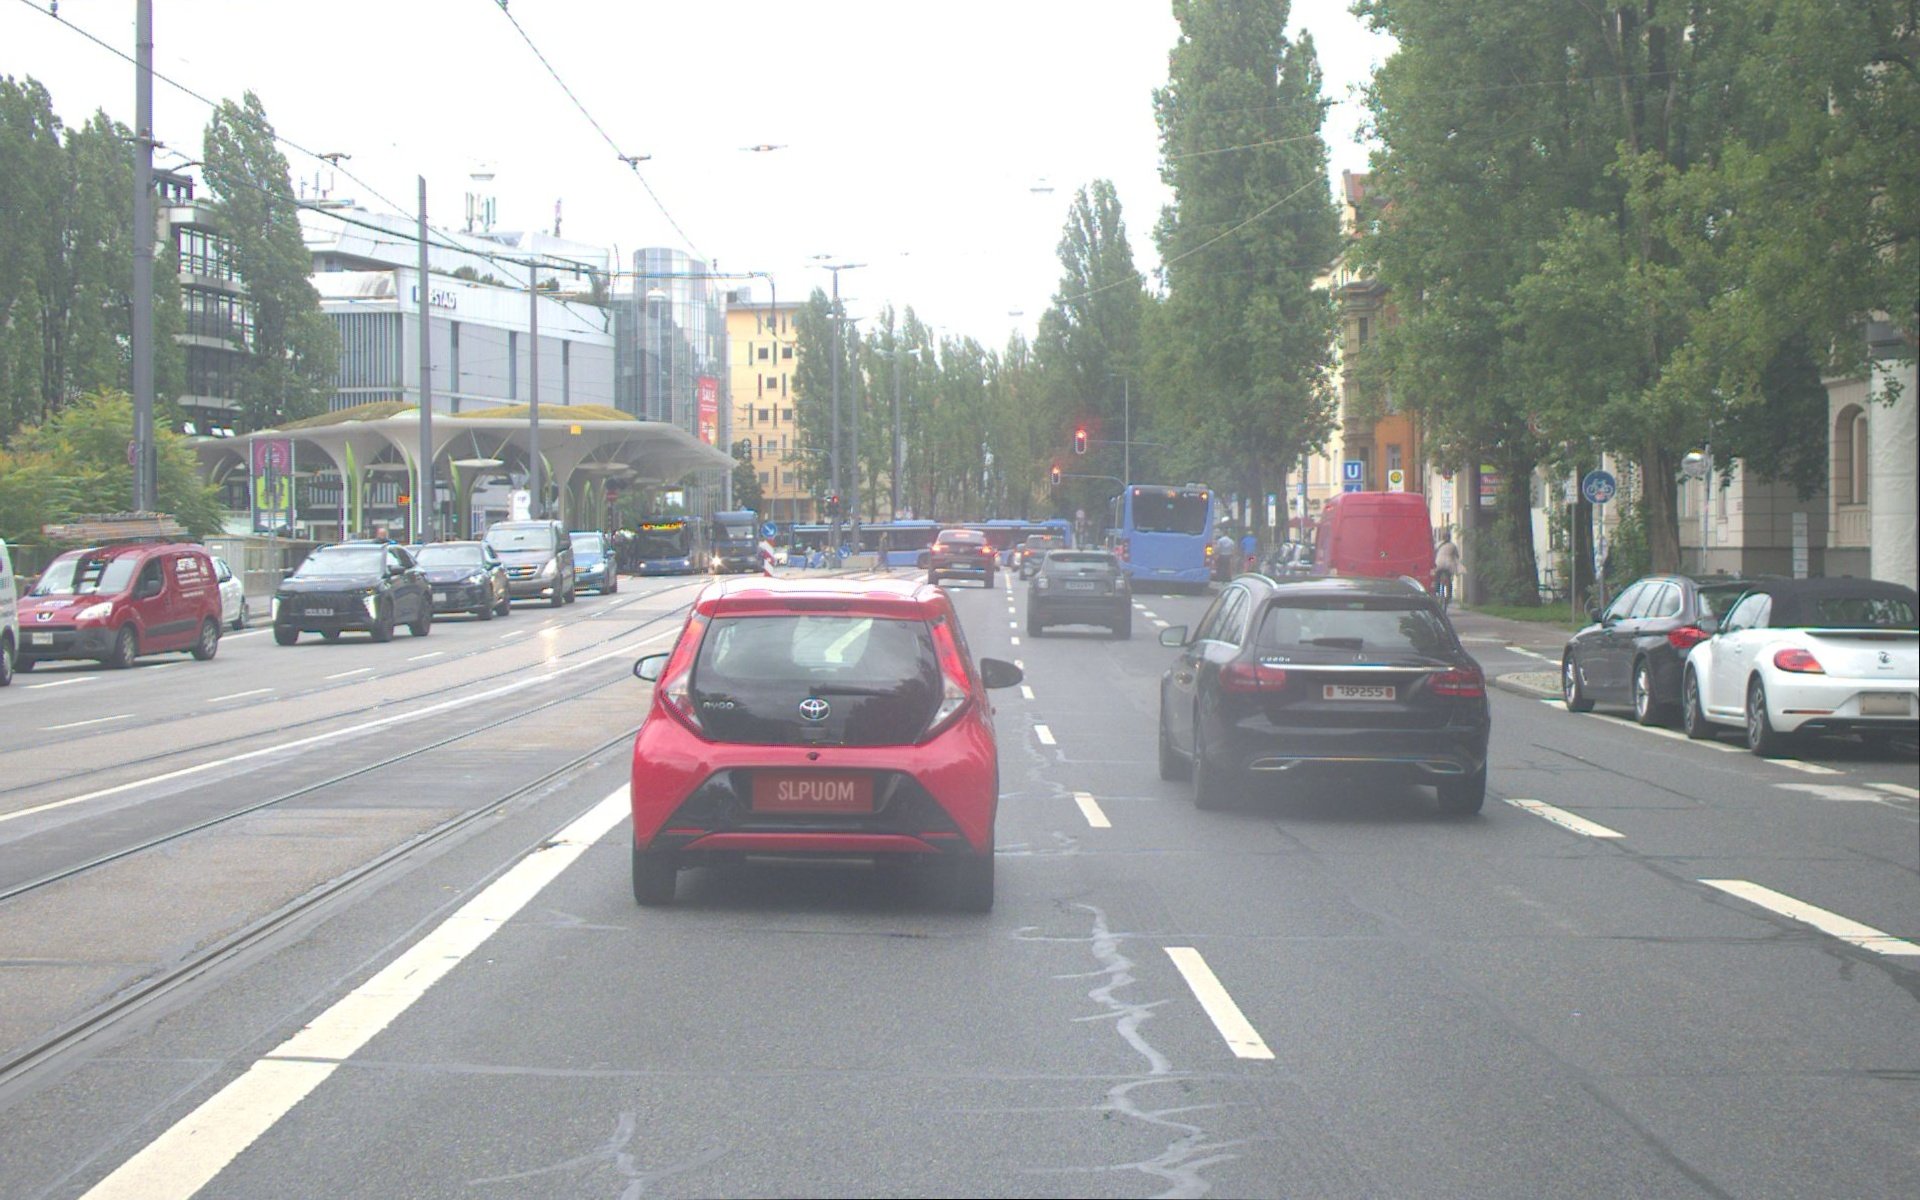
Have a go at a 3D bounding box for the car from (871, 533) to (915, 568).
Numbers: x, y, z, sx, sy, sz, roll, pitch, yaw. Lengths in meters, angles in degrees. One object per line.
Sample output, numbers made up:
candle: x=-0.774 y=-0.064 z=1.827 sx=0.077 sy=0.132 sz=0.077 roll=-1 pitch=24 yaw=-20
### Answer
car: x=-2.791 y=-2.085 z=144.615 sx=1.781 sy=1.481 sz=4.000 roll=0 pitch=1 yaw=0

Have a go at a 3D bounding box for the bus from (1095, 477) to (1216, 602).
bus: x=5.693 y=-1.885 z=101.551 sx=2.906 sy=3.384 sz=10.807 roll=0 pitch=2 yaw=0

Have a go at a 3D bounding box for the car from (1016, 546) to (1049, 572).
car: x=4.119 y=-2.348 z=195.395 sx=1.781 sy=1.481 sz=4.000 roll=0 pitch=1 yaw=0

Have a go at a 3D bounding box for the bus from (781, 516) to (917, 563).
bus: x=-6.976 y=-3.778 z=215.413 sx=8.466 sy=2.836 sz=2.000 roll=0 pitch=2 yaw=-3

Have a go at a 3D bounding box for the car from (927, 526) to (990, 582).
car: x=-0.051 y=-1.305 z=98.088 sx=1.736 sy=1.544 sz=4.576 roll=0 pitch=1 yaw=0

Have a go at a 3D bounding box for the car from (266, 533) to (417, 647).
car: x=-10.415 y=-0.182 z=58.168 sx=1.799 sy=1.782 sz=4.519 roll=-2 pitch=1 yaw=-2

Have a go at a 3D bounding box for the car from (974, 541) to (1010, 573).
car: x=1.806 y=-2.423 z=193.434 sx=1.804 sy=1.590 sz=3.999 roll=1 pitch=-2 yaw=4

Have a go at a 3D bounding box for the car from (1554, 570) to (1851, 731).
car: x=7.379 y=0.456 z=34.594 sx=1.799 sy=1.503 sz=4.451 roll=0 pitch=1 yaw=-3

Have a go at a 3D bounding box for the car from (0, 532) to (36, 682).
car: x=-12.740 y=0.126 z=41.714 sx=1.799 sy=1.855 sz=4.631 roll=-2 pitch=1 yaw=-1

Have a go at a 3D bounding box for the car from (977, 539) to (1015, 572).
car: x=1.951 y=-2.402 z=186.353 sx=1.804 sy=1.590 sz=3.999 roll=1 pitch=-2 yaw=4

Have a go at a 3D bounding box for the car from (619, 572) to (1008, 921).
car: x=-0.701 y=0.610 z=16.301 sx=1.628 sy=1.435 sz=3.377 roll=1 pitch=1 yaw=-3

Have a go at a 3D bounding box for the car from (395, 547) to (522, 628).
car: x=-10.068 y=-0.268 z=69.338 sx=1.799 sy=1.525 sz=4.519 roll=-2 pitch=1 yaw=1

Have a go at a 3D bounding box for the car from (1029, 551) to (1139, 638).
car: x=2.151 y=-0.113 z=60.394 sx=1.781 sy=1.481 sz=4.000 roll=0 pitch=1 yaw=0

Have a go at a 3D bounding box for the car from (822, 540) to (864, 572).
car: x=-5.393 y=-2.031 z=158.852 sx=1.781 sy=1.481 sz=4.000 roll=0 pitch=1 yaw=0

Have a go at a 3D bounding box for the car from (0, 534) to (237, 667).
car: x=-12.201 y=-0.024 z=49.544 sx=1.800 sy=1.782 sz=4.517 roll=-2 pitch=1 yaw=11

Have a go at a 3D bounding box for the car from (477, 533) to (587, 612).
car: x=-9.518 y=-0.628 z=76.795 sx=1.799 sy=1.659 sz=4.519 roll=-2 pitch=1 yaw=1

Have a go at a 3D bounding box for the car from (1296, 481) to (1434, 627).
car: x=7.522 y=-0.912 z=64.215 sx=1.993 sy=2.565 sz=4.680 roll=0 pitch=2 yaw=0

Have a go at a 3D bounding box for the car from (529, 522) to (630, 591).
car: x=-9.625 y=-1.106 z=87.266 sx=1.799 sy=1.659 sz=4.519 roll=-2 pitch=1 yaw=3

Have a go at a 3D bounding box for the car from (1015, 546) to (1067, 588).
car: x=2.869 y=-1.176 z=122.461 sx=1.781 sy=1.481 sz=4.000 roll=0 pitch=1 yaw=0

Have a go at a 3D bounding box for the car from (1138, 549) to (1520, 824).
car: x=2.290 y=0.472 z=22.525 sx=1.863 sy=1.544 sz=4.704 roll=-1 pitch=1 yaw=-2

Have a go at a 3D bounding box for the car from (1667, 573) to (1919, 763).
car: x=7.376 y=0.529 z=29.481 sx=1.799 sy=1.503 sz=4.000 roll=0 pitch=1 yaw=0

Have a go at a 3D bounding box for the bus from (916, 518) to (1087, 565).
bus: x=2.590 y=-3.651 z=215.941 sx=10.554 sy=2.836 sz=2.001 roll=0 pitch=2 yaw=-3
